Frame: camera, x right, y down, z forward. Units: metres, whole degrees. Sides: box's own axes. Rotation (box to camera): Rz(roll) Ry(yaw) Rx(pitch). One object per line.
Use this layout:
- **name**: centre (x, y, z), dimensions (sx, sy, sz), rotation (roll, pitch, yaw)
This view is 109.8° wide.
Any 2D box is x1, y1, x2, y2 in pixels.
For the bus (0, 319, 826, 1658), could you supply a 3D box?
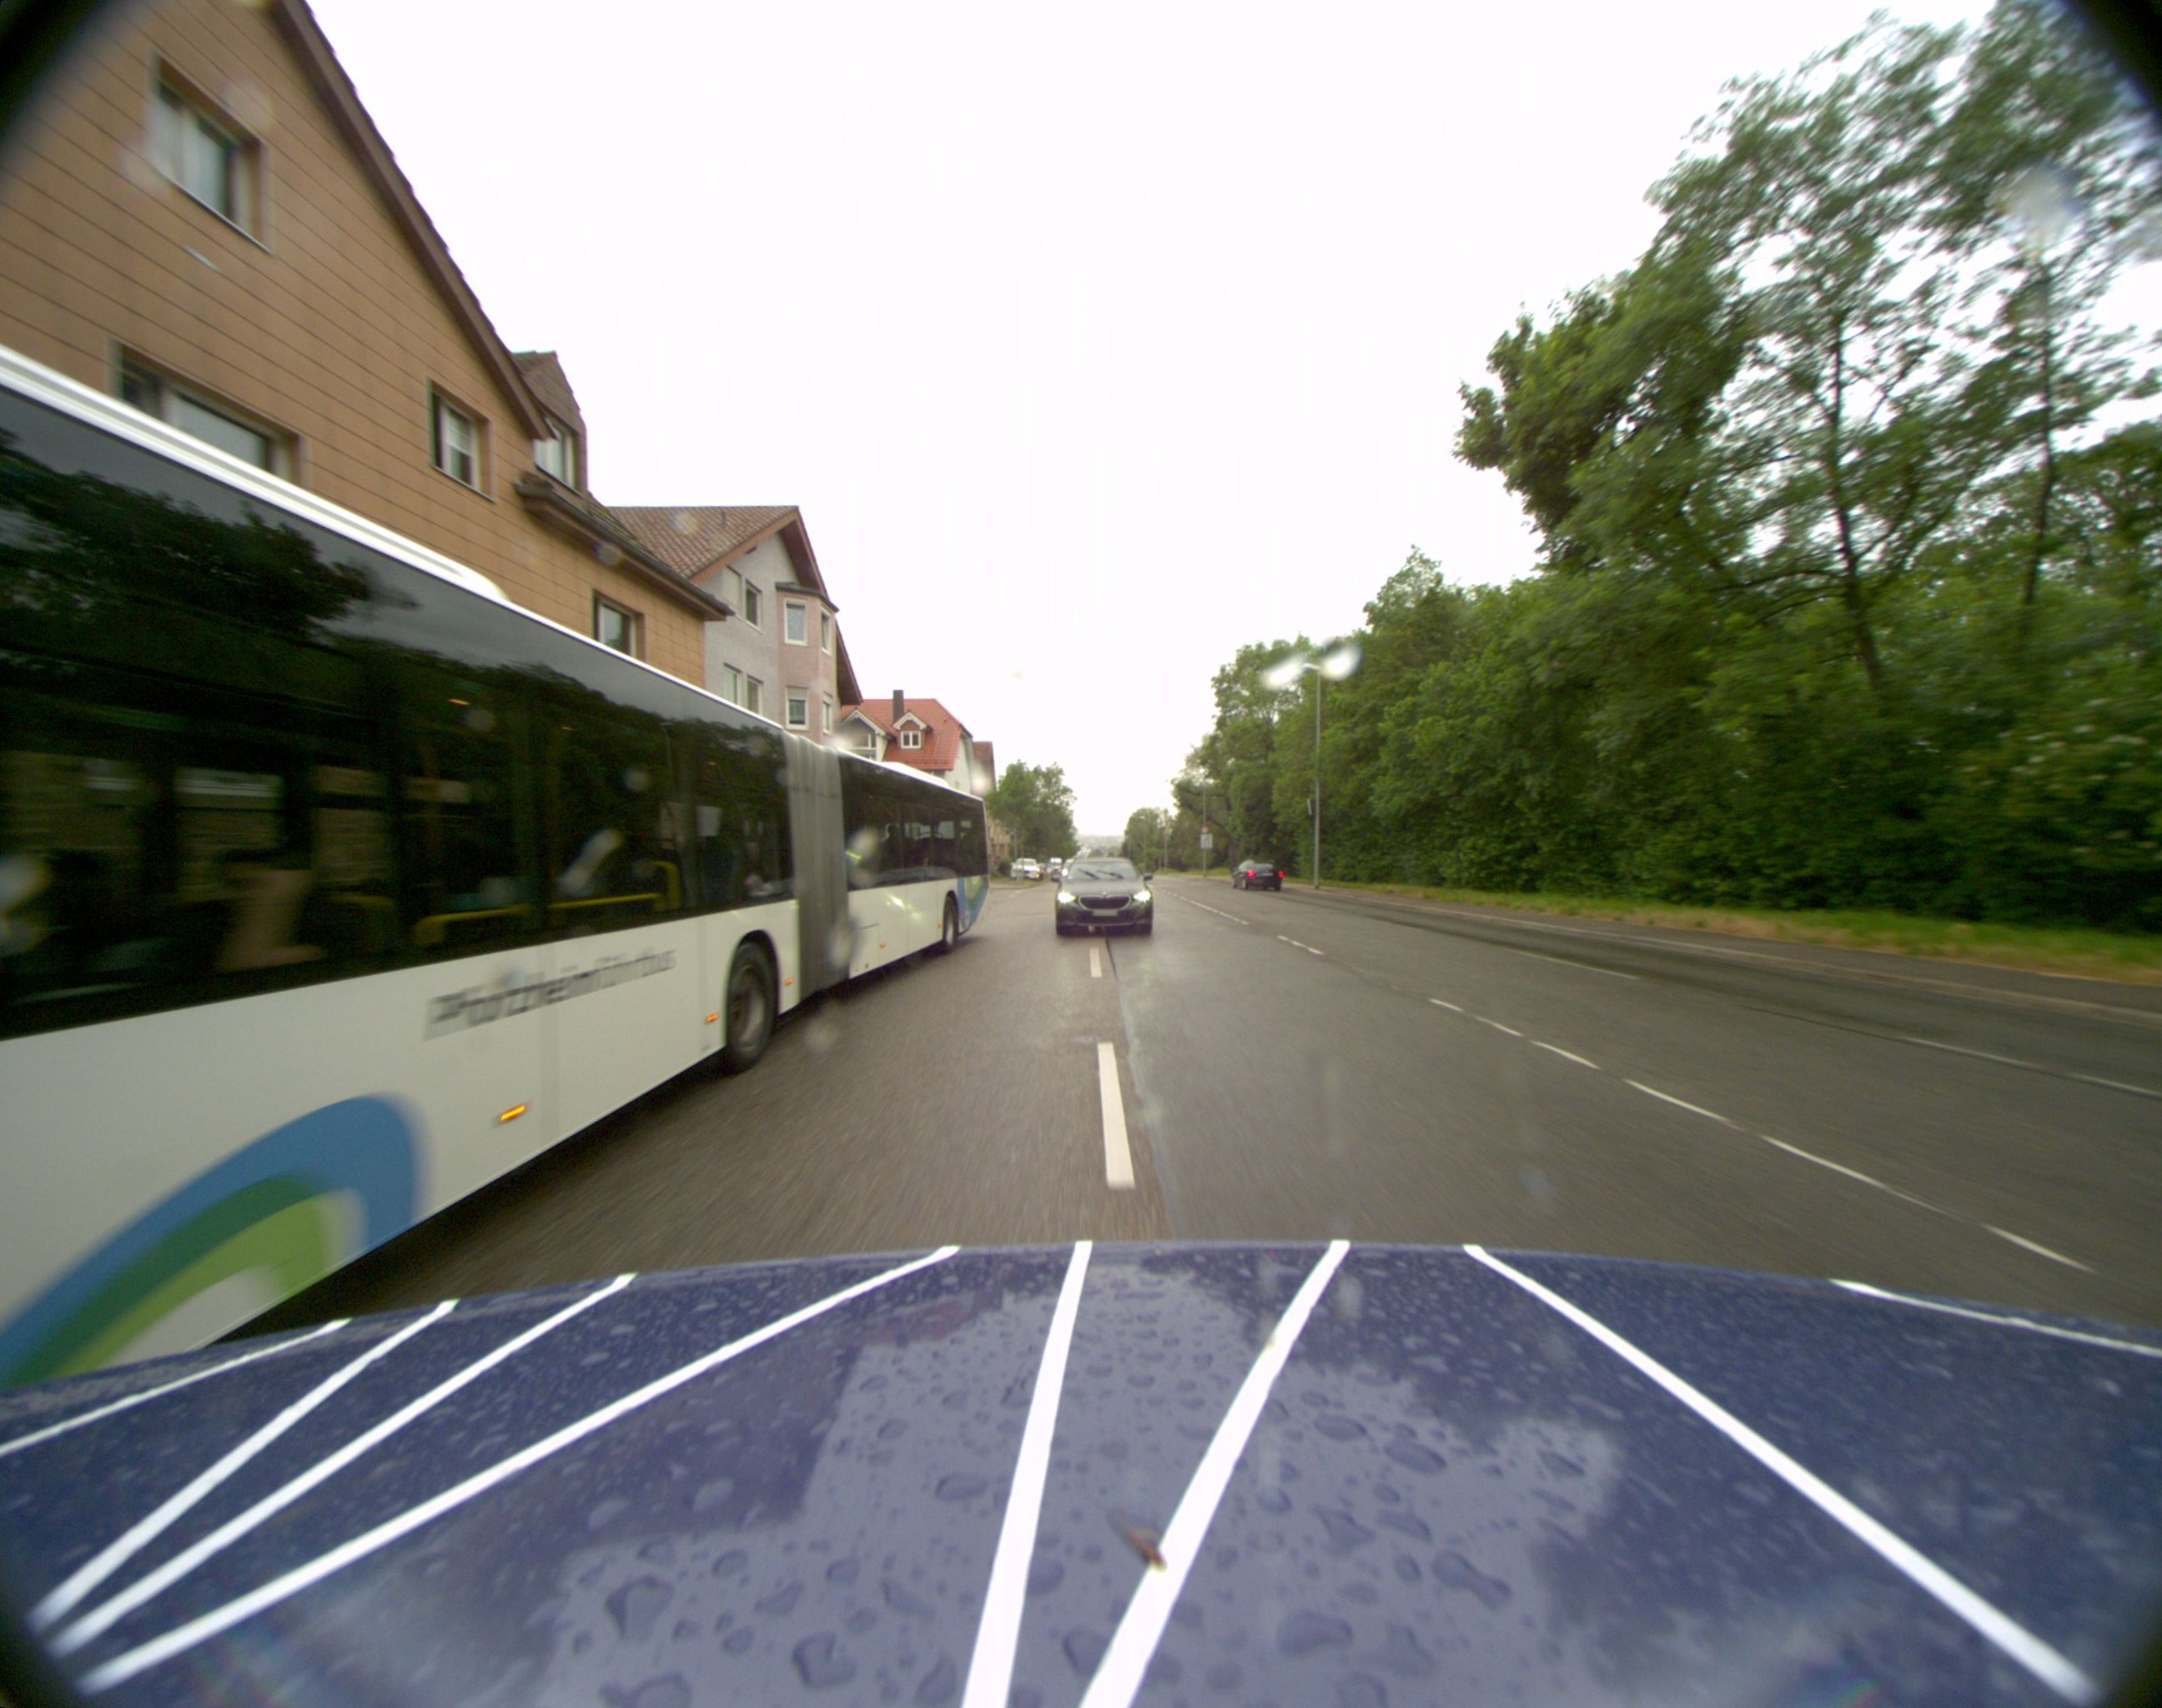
- **bus**: centre (-3.683, 0.303, 2.574), dimensions (2.563, 2.942, 9.448), rotation (-1, 0, -1)

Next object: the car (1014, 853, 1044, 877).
- **car**: centre (-3.792, 0.782, 55.829), dimensions (1.927, 1.651, 4.482), rotation (0, 0, -1)

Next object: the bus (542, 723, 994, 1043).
- **bus**: centre (-3.430, 0.277, 11.364), dimensions (2.561, 2.942, 8.560), rotation (-1, 0, 5)

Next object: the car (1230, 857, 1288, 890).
- **car**: centre (8.595, 0.900, 37.029), dimensions (1.748, 1.423, 4.388), rotation (2, 0, 0)

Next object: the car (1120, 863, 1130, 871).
- **car**: centre (9.373, 2.651, 161.256), dimensions (1.890, 1.587, 4.363), rotation (0, 0, 1)

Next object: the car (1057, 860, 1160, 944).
- **car**: centre (0.520, 0.888, 16.077), dimensions (1.855, 1.461, 4.483), rotation (-1, 0, 0)
